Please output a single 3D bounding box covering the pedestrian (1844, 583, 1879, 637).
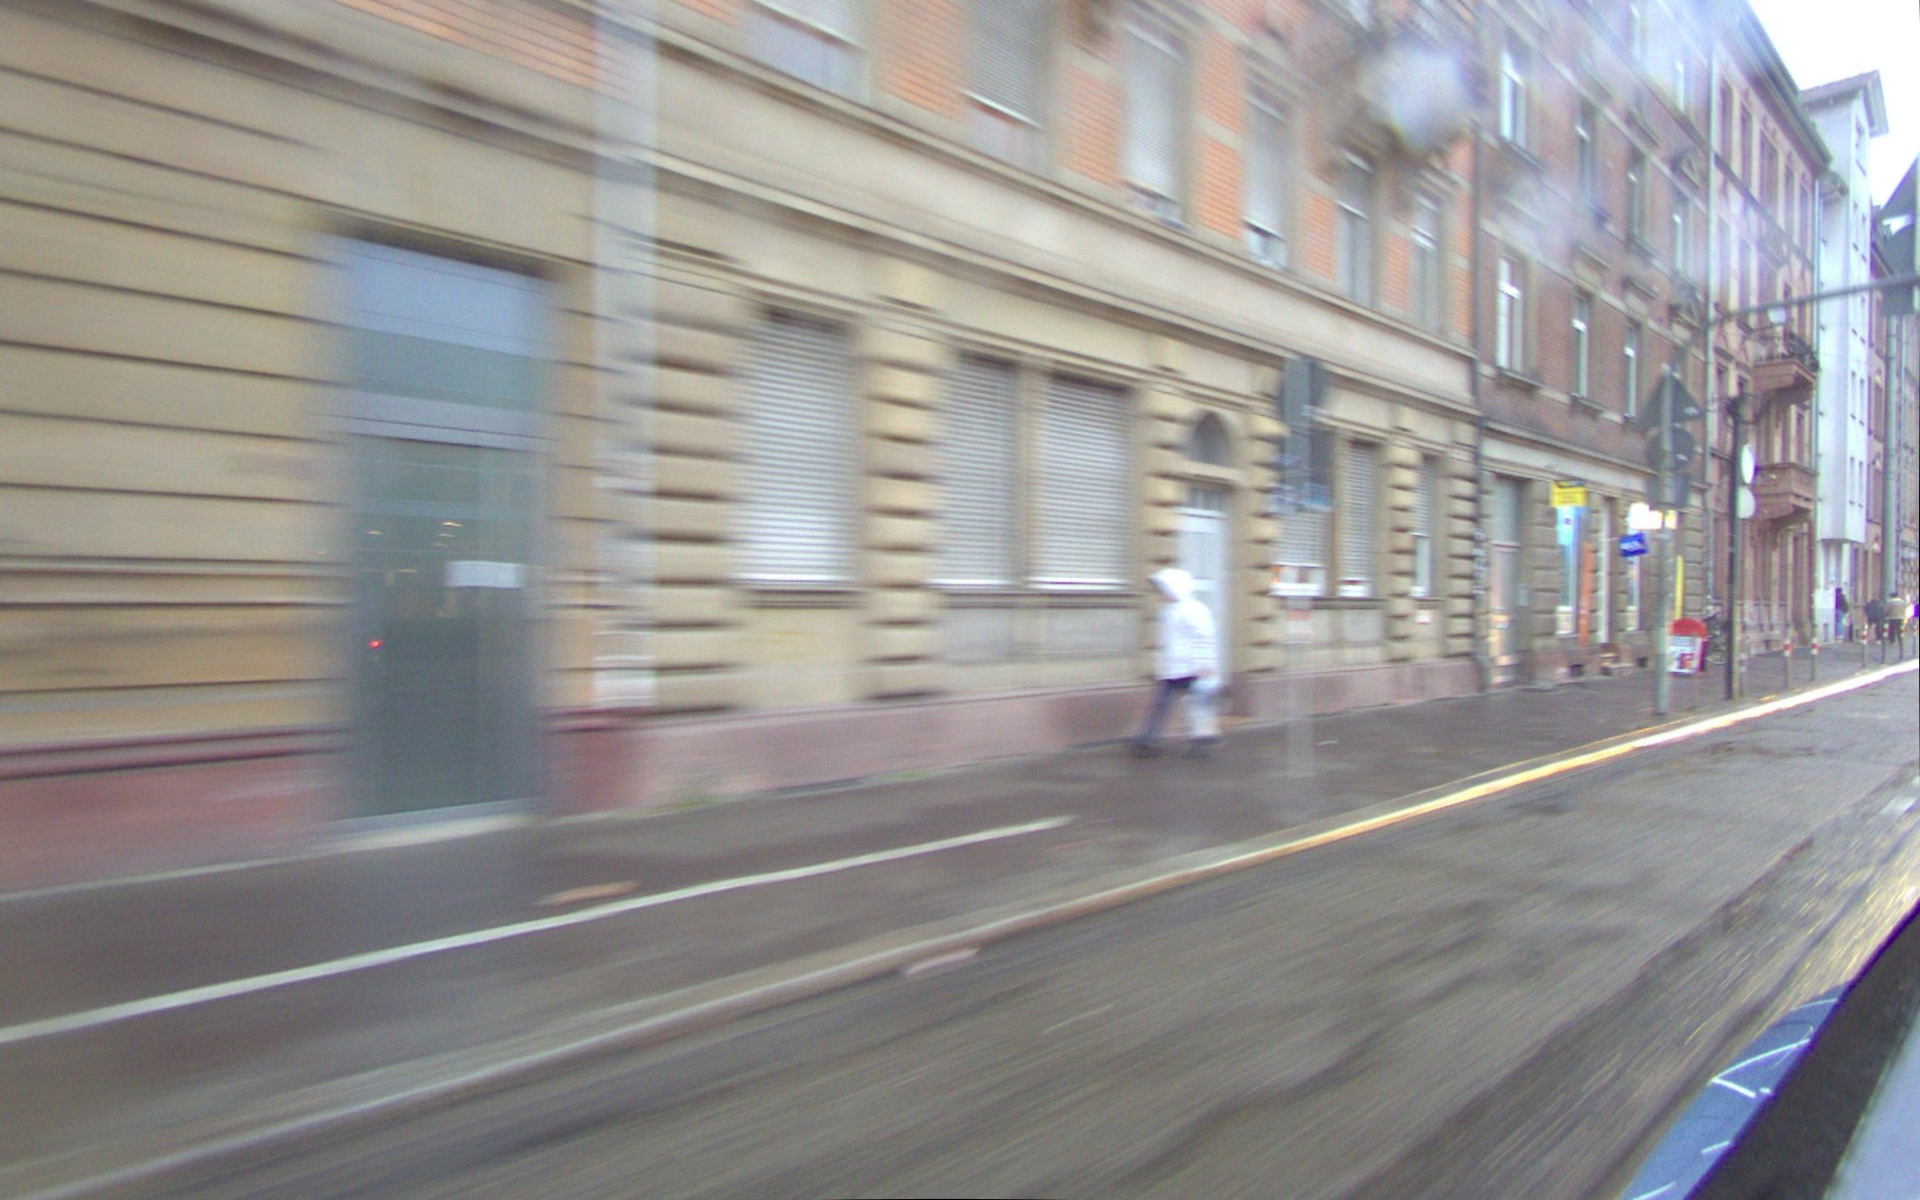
[{"bbox_3d":[30.466,0.326,34.198,0.661,1.766,0.777,0,1,-40],"label":"pedestrian"}]

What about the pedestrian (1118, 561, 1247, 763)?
[{"bbox_3d":[1.884,0.491,8.630,0.726,1.617,0.790,0,0,-26],"label":"pedestrian"}]

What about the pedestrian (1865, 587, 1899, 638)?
[{"bbox_3d":[32.318,0.435,35.473,0.661,1.766,0.777,0,1,-40],"label":"pedestrian"}]

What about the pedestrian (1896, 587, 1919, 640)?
[{"bbox_3d":[32.006,0.452,33.944,0.661,1.766,0.777,0,1,-40],"label":"pedestrian"}]

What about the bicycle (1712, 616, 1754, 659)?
[{"bbox_3d":[17.539,0.836,22.953,1.834,0.922,0.398,0,1,-41],"label":"bicycle"}]
